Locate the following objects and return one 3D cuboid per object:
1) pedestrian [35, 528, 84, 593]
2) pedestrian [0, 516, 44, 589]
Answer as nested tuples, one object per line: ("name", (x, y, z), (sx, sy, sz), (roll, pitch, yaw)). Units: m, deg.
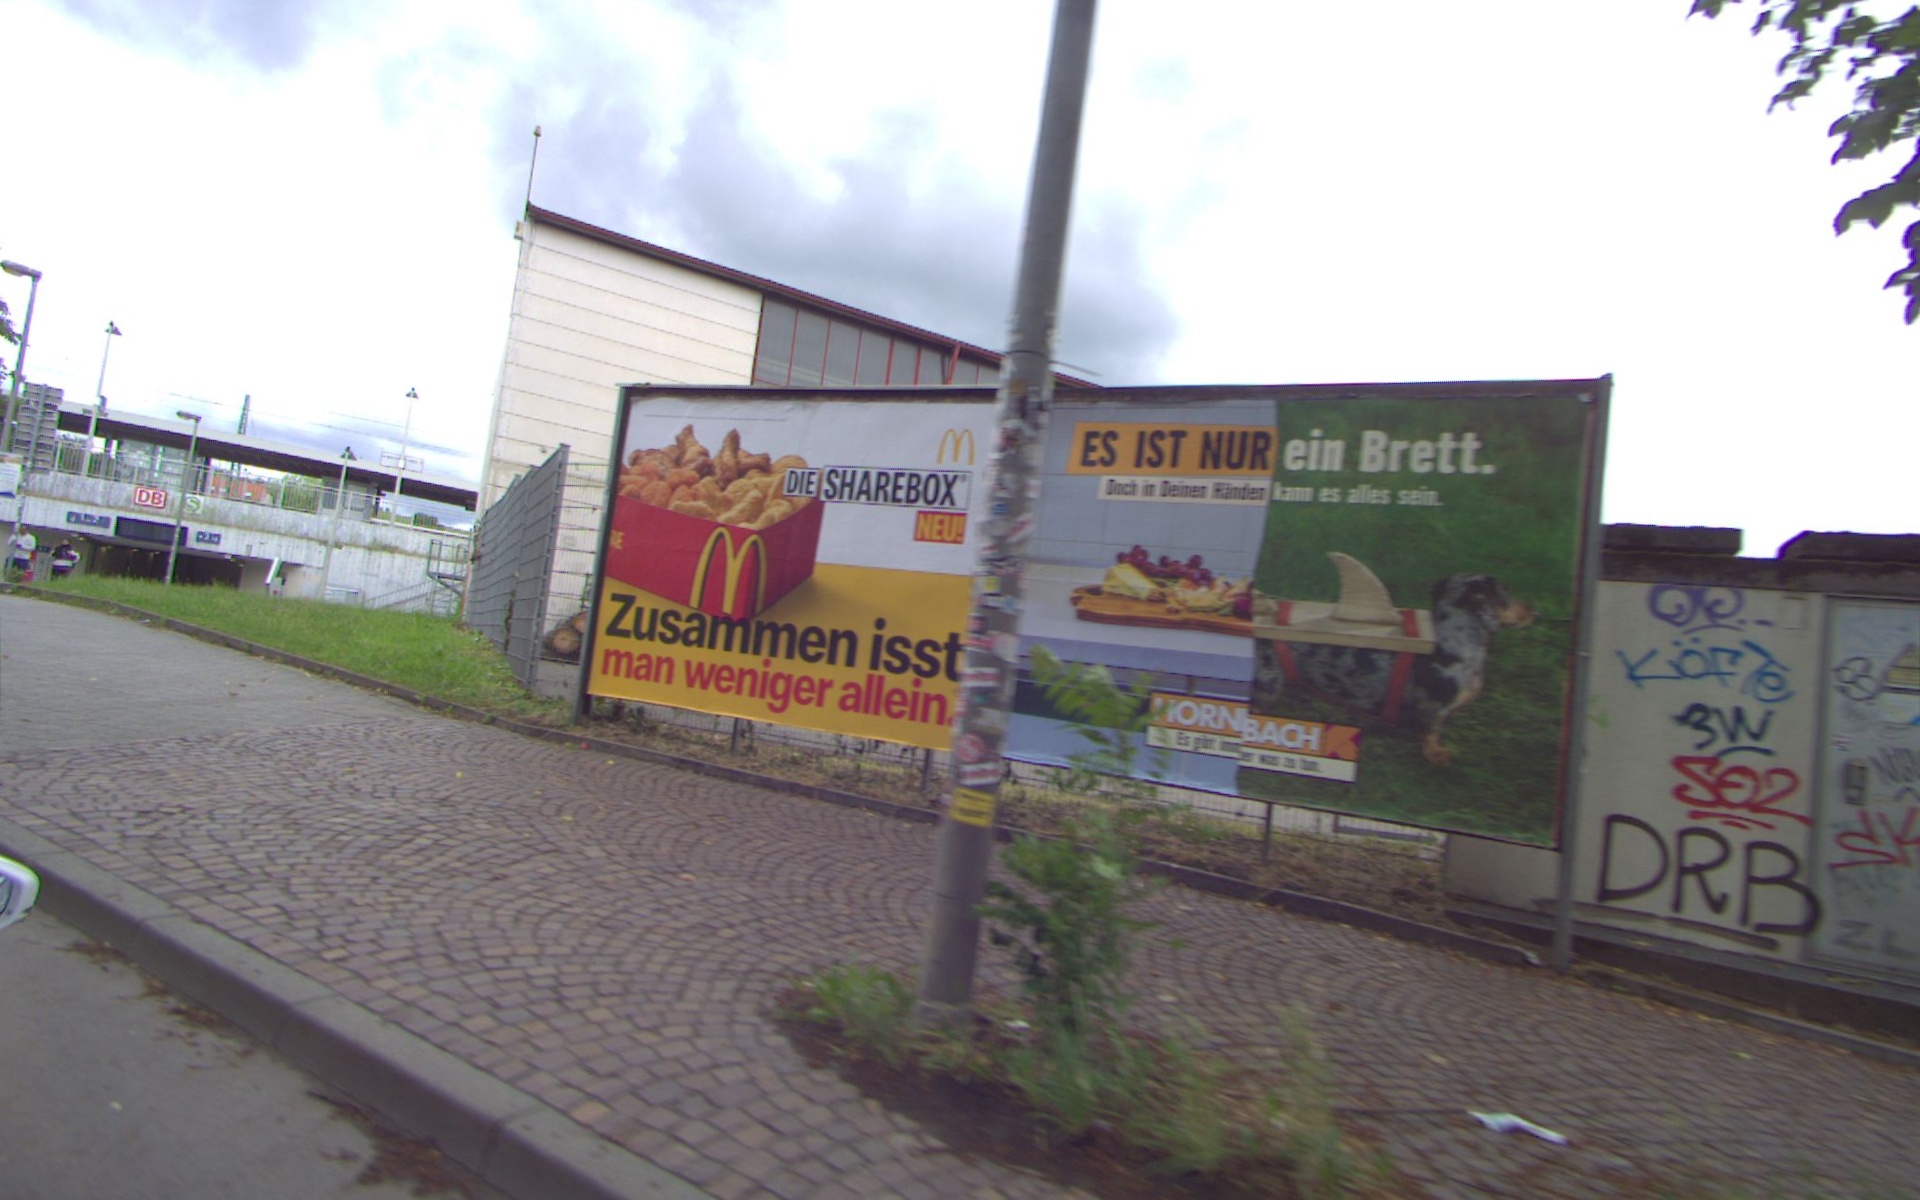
("pedestrian", (-24.260, -1.045, 27.115), (0.797, 1.600, 0.793), (10, -5, -41))
("pedestrian", (-24.193, -1.205, 25.813), (0.812, 1.720, 0.741), (10, -5, -41))
